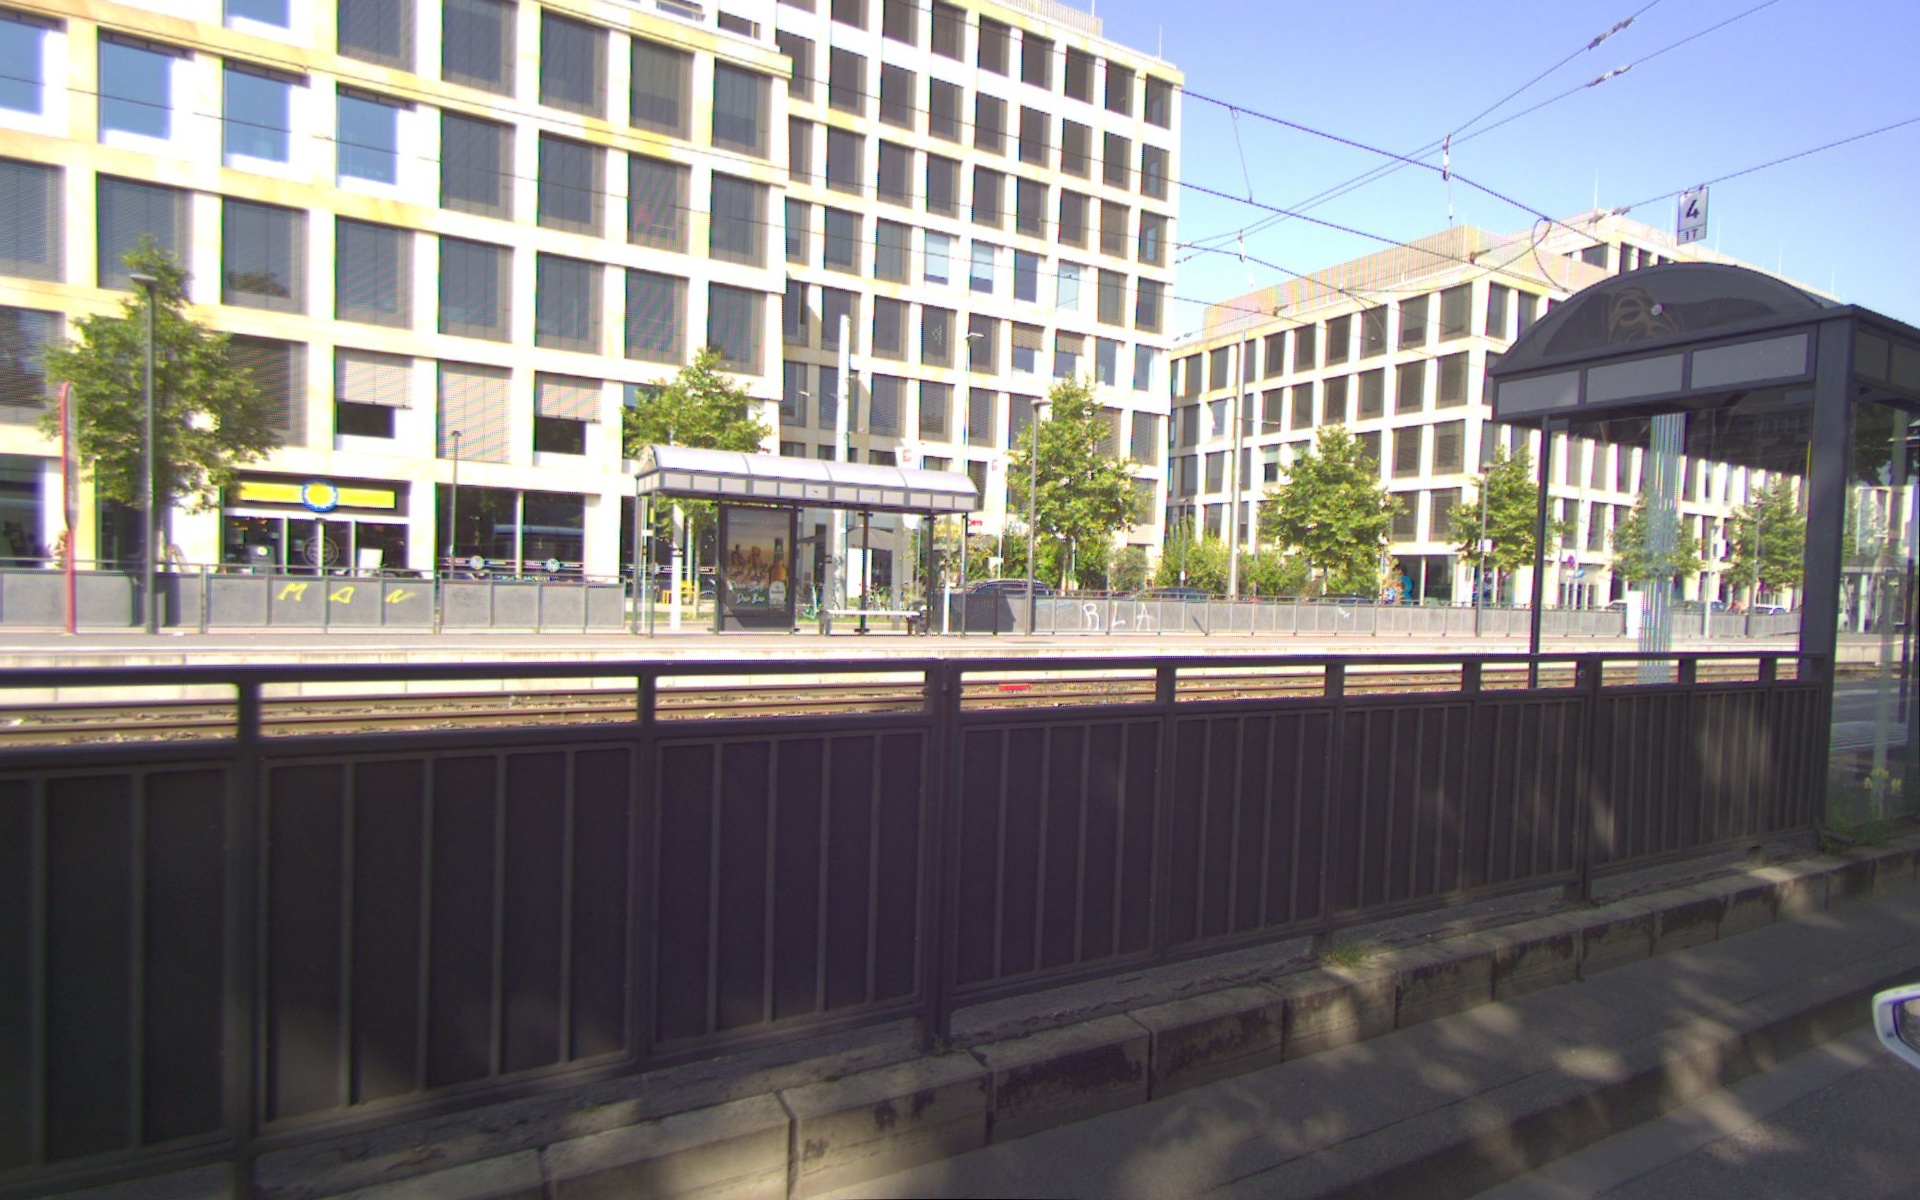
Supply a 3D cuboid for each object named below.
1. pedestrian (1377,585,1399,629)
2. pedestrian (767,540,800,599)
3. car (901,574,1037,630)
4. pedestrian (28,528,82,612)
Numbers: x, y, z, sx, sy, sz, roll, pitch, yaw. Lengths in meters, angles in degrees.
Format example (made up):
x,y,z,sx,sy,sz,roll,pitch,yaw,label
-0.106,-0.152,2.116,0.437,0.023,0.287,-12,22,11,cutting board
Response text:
x,y,z,sx,sy,sz,roll,pitch,yaw,label
20.256,0.323,47.487,0.812,2.040,0.560,2,-2,-29,pedestrian
-6.003,-1.020,34.175,0.830,1.942,0.788,3,-2,-35,pedestrian
0.262,0.075,27.973,3.465,1.447,1.545,1,1,-31,car
-22.757,-0.748,25.283,0.811,2.041,0.764,1,1,-26,pedestrian
